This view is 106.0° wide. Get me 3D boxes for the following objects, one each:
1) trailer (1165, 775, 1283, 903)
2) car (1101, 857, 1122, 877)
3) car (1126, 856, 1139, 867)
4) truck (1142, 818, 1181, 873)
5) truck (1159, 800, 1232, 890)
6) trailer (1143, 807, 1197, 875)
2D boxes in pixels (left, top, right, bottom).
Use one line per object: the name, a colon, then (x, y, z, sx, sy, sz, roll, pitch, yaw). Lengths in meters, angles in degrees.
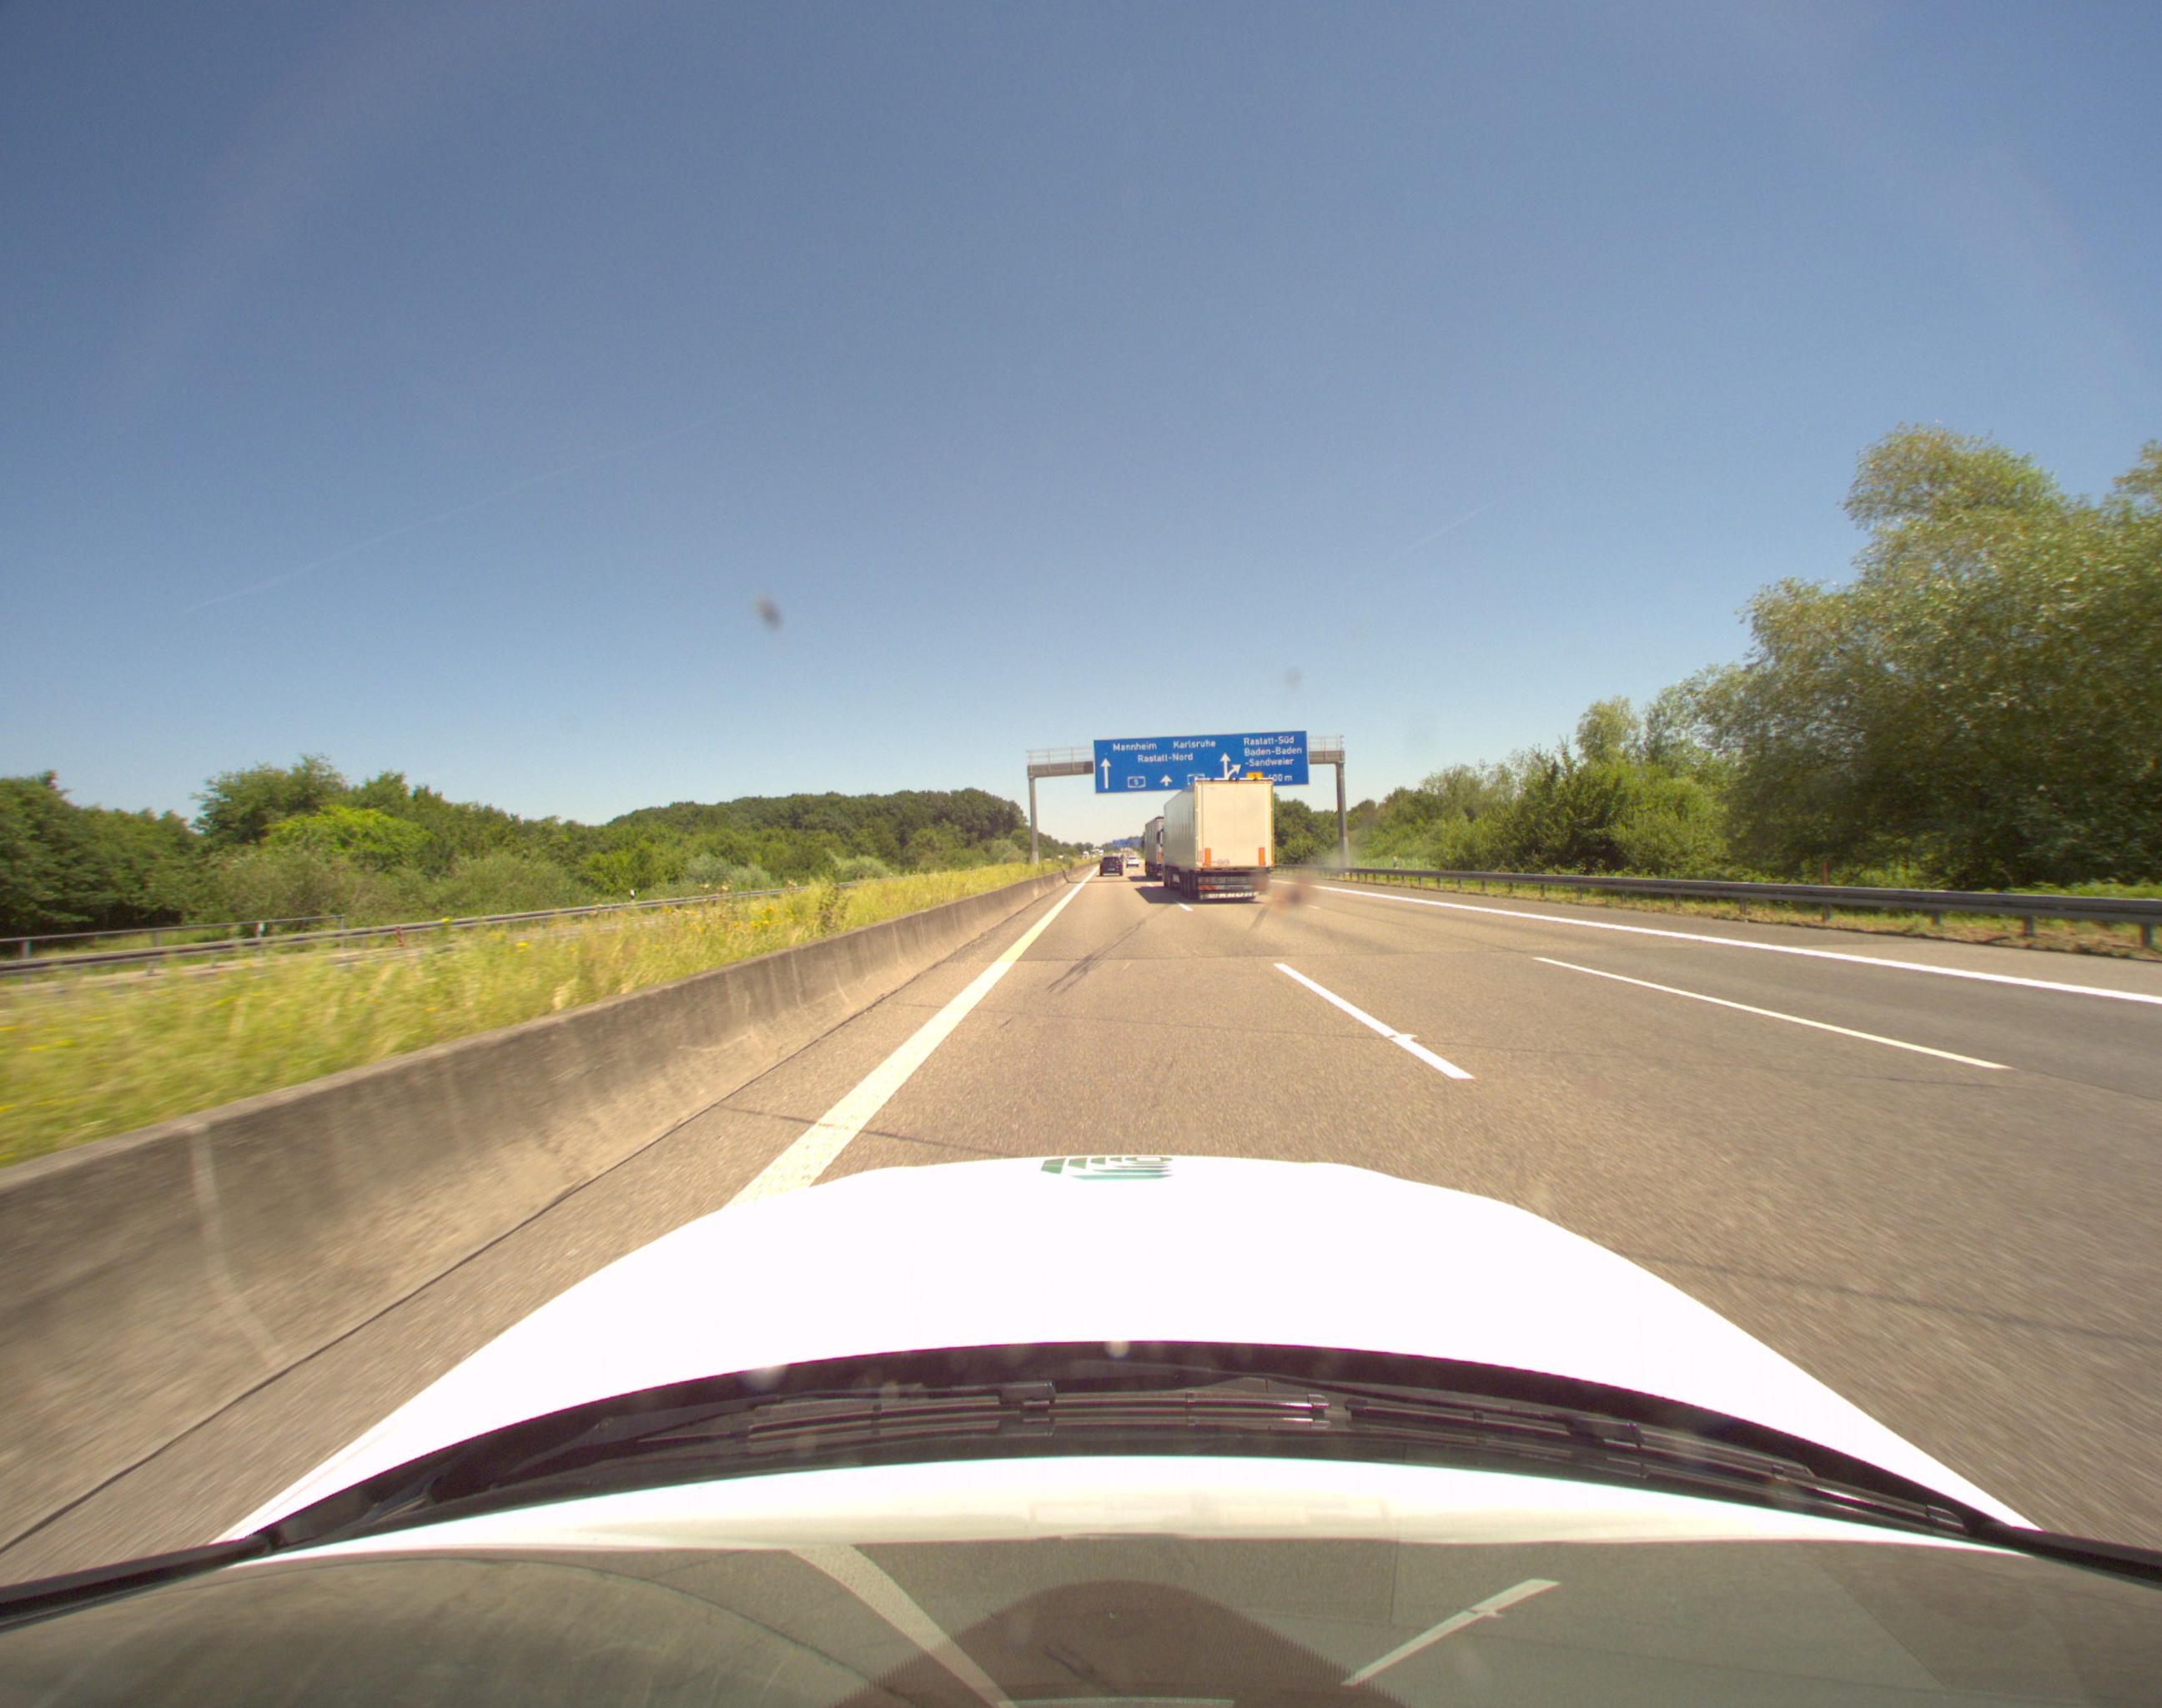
trailer: (5.219, -0.451, 32.333, 2.784, 4.035, 12.572, -1, 0, 2)
car: (2.552, 1.100, 69.341, 1.654, 1.549, 3.783, -2, -1, 1)
car: (7.675, 1.123, 121.150, 1.733, 1.486, 4.002, -1, 0, 2)
truck: (6.337, -0.608, 65.178, 2.690, 4.094, 6.456, -1, -1, 2)
truck: (5.450, -0.401, 39.791, 2.789, 4.007, 6.022, -1, 0, 2)
trailer: (5.984, -0.683, 56.815, 2.697, 4.068, 14.753, -1, -1, 2)
